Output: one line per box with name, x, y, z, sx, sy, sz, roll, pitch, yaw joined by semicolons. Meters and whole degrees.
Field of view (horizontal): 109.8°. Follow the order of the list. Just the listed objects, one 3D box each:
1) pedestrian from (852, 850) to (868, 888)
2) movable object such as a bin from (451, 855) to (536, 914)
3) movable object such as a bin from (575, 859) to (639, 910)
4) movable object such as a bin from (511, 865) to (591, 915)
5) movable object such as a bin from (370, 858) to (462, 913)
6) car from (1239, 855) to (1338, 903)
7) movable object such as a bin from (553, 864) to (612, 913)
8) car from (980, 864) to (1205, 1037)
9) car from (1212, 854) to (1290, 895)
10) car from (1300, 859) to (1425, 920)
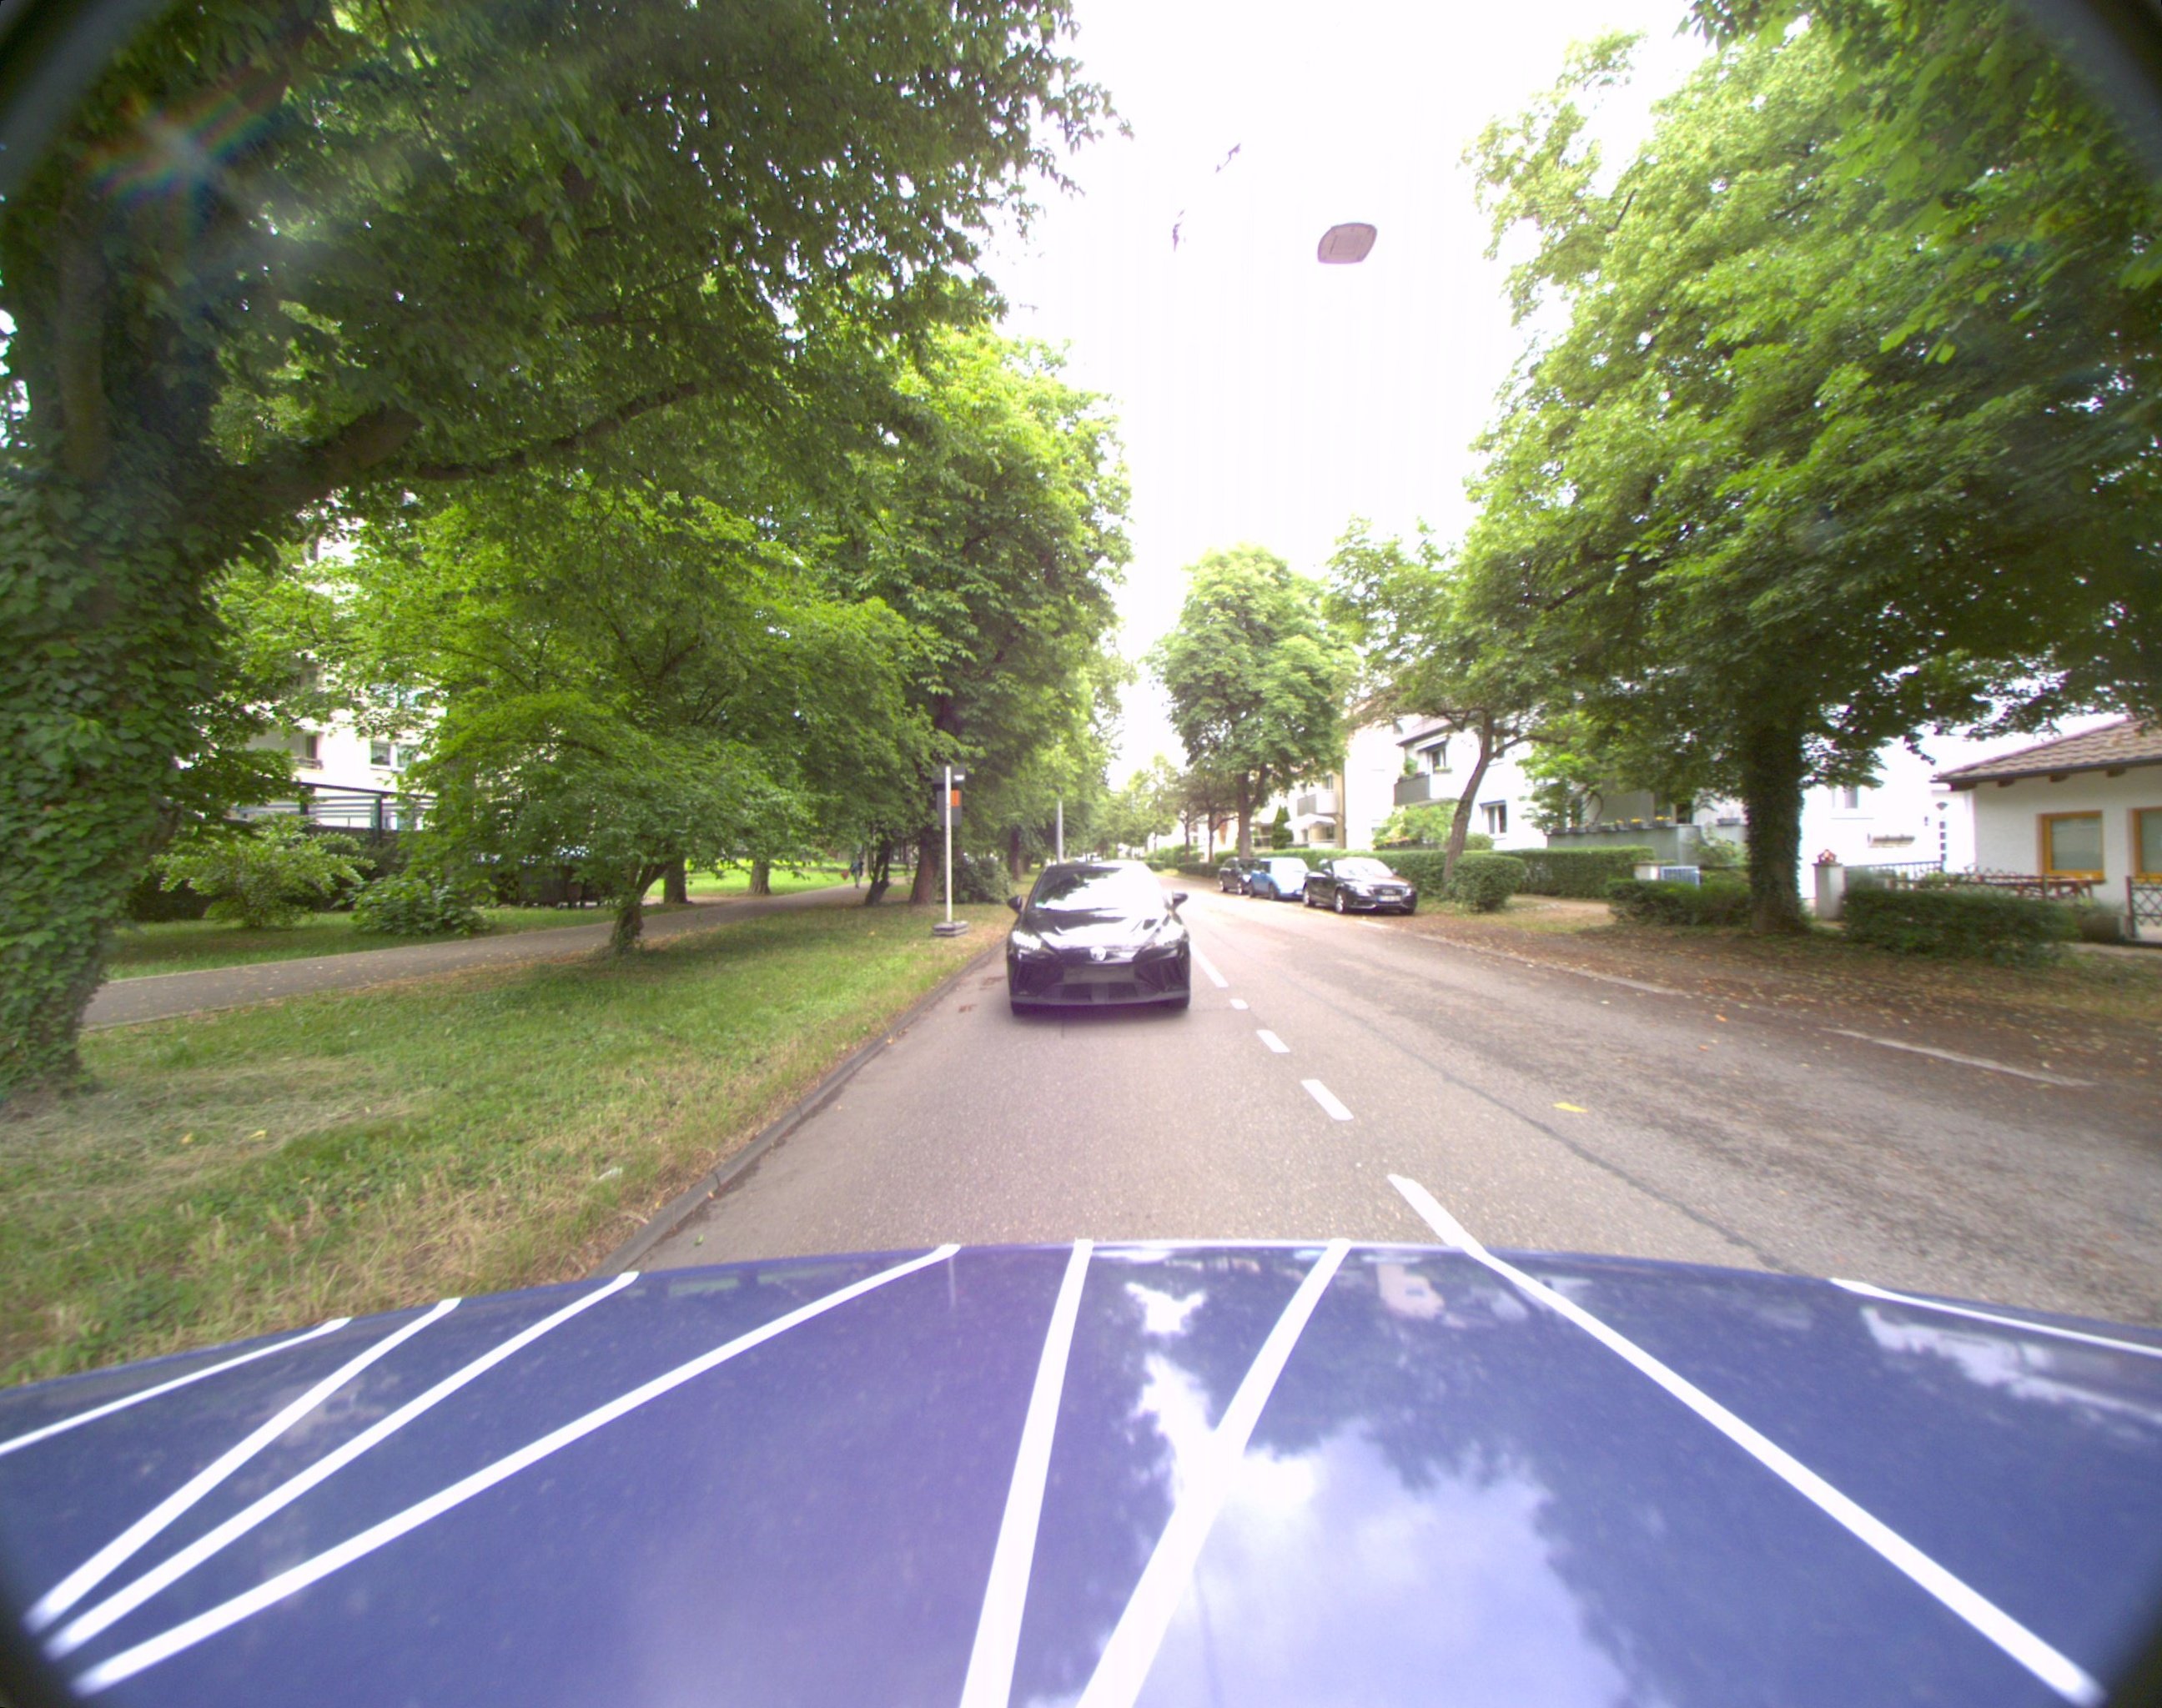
pedestrian;-10.392;0.695;35.744;0.565;1.730;0.570;1;0;-1
movable object such as a bin;-14.815;0.741;19.215;1.194;1.448;1.348;0;0;-8
movable object such as a bin;-13.510;0.850;21.713;1.194;1.405;1.110;0;0;-8
movable object such as a bin;-13.500;0.900;19.421;1.194;1.213;1.348;0;0;-8
movable object such as a bin;-16.756;0.760;19.194;1.194;1.334;1.348;0;0;-8
car;6.904;0.785;25.834;1.889;1.492;4.564;0;0;-4
movable object such as a bin;-13.496;0.914;20.620;1.026;1.296;0.959;0;0;-8
car;0.104;0.885;9.056;1.998;1.491;4.615;0;0;0
car;6.728;0.768;30.585;1.889;1.524;4.564;0;0;-4
car;7.159;0.845;19.815;1.735;1.395;4.171;0;0;0
